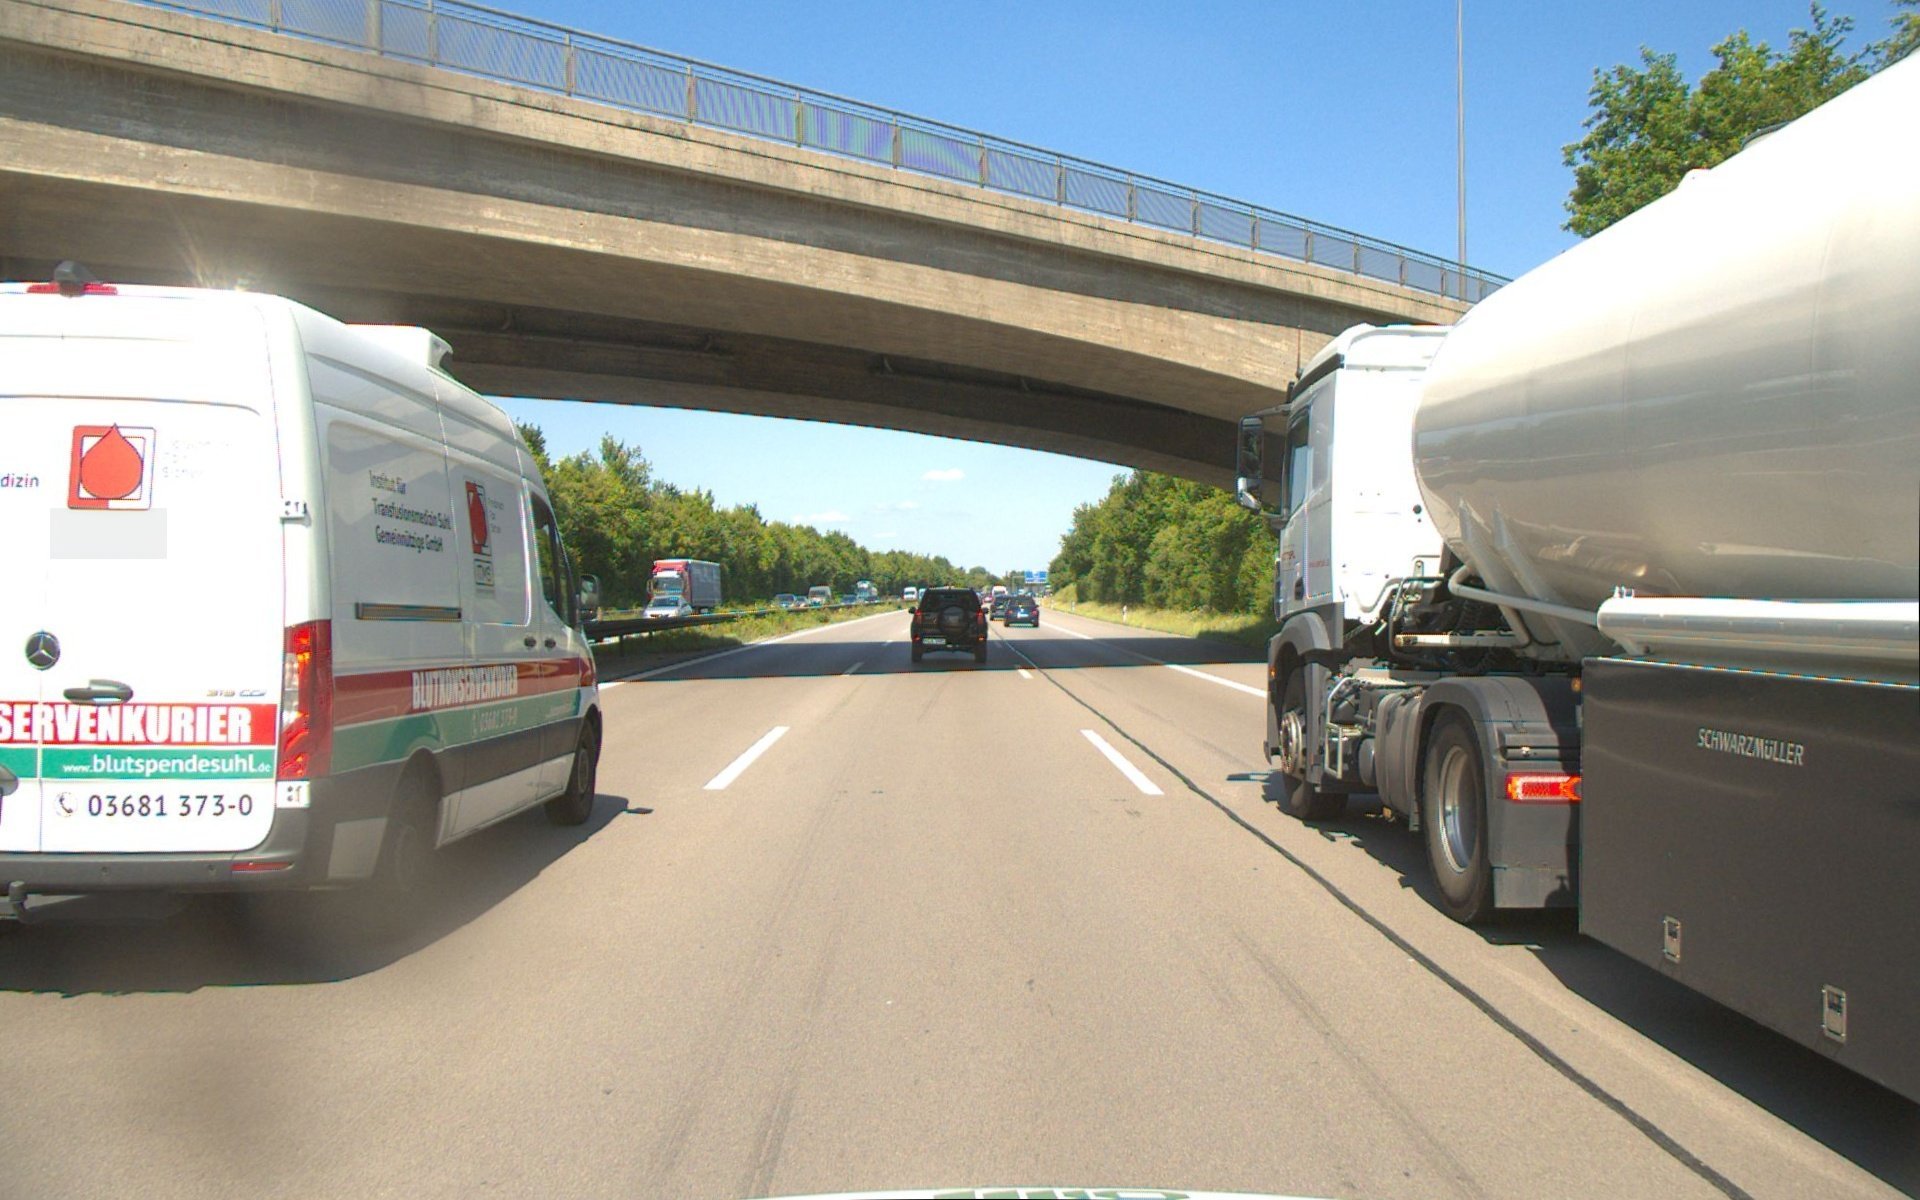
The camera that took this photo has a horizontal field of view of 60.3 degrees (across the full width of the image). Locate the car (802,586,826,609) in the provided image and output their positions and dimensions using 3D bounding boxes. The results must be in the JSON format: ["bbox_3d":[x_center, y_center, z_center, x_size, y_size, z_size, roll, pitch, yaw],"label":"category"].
[{"bbox_3d":[-15.220,-0.258,172.612,1.953,2.274,6.517,0,-1,0],"label":"car"}]

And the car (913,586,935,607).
[{"bbox_3d":[-3.682,-0.320,168.430,1.952,2.049,4.951,-1,0,2],"label":"car"}]

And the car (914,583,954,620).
[{"bbox_3d":[-1.298,0.078,82.859,1.953,1.736,4.335,-1,0,-1],"label":"car"}]

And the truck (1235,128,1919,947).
[{"bbox_3d":[3.571,-0.264,10.225,2.584,3.434,6.486,1,0,-1],"label":"truck"}]

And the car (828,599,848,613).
[{"bbox_3d":[-12.569,0.644,170.604,1.690,1.399,4.544,-1,0,-1],"label":"car"}]

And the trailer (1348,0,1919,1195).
[{"bbox_3d":[3.660,-0.259,3.916,2.594,3.449,11.148,1,0,-1],"label":"trailer"}]

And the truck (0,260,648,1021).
[{"bbox_3d":[-3.276,0.116,8.998,1.953,2.587,6.690,1,0,-1],"label":"truck"}]

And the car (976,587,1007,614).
[{"bbox_3d":[1.937,0.050,102.678,1.805,1.640,3.999,0,-1,-1],"label":"car"}]

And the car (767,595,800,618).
[{"bbox_3d":[-12.146,0.425,113.911,1.843,1.509,4.434,-1,0,0],"label":"car"}]

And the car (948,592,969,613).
[{"bbox_3d":[-0.196,0.248,163.955,1.953,2.049,4.766,-1,0,-1],"label":"car"}]

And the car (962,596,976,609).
[{"bbox_3d":[1.232,0.345,231.357,1.776,1.777,3.998,-1,0,-2],"label":"car"}]

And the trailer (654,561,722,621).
[{"bbox_3d":[-20.064,-0.649,122.931,2.728,4.111,13.546,-2,0,0],"label":"trailer"}]

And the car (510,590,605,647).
[{"bbox_3d":[-11.649,0.504,48.163,1.739,1.499,4.418,-3,0,-2],"label":"car"}]

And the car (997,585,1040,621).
[{"bbox_3d":[2.884,0.168,82.620,1.953,1.713,3.999,0,-1,0],"label":"car"}]

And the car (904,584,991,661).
[{"bbox_3d":[-0.340,0.489,38.556,1.868,1.694,3.998,0,0,-3],"label":"car"}]

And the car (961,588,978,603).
[{"bbox_3d":[1.127,-0.511,198.235,1.953,1.780,4.203,-1,0,-2],"label":"car"}]

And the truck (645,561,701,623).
[{"bbox_3d":[-20.056,-0.555,115.993,2.728,4.131,6.209,-2,0,0],"label":"truck"}]

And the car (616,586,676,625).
[{"bbox_3d":[-12.770,0.222,67.444,1.648,1.507,4.347,-1,0,0],"label":"car"}]
